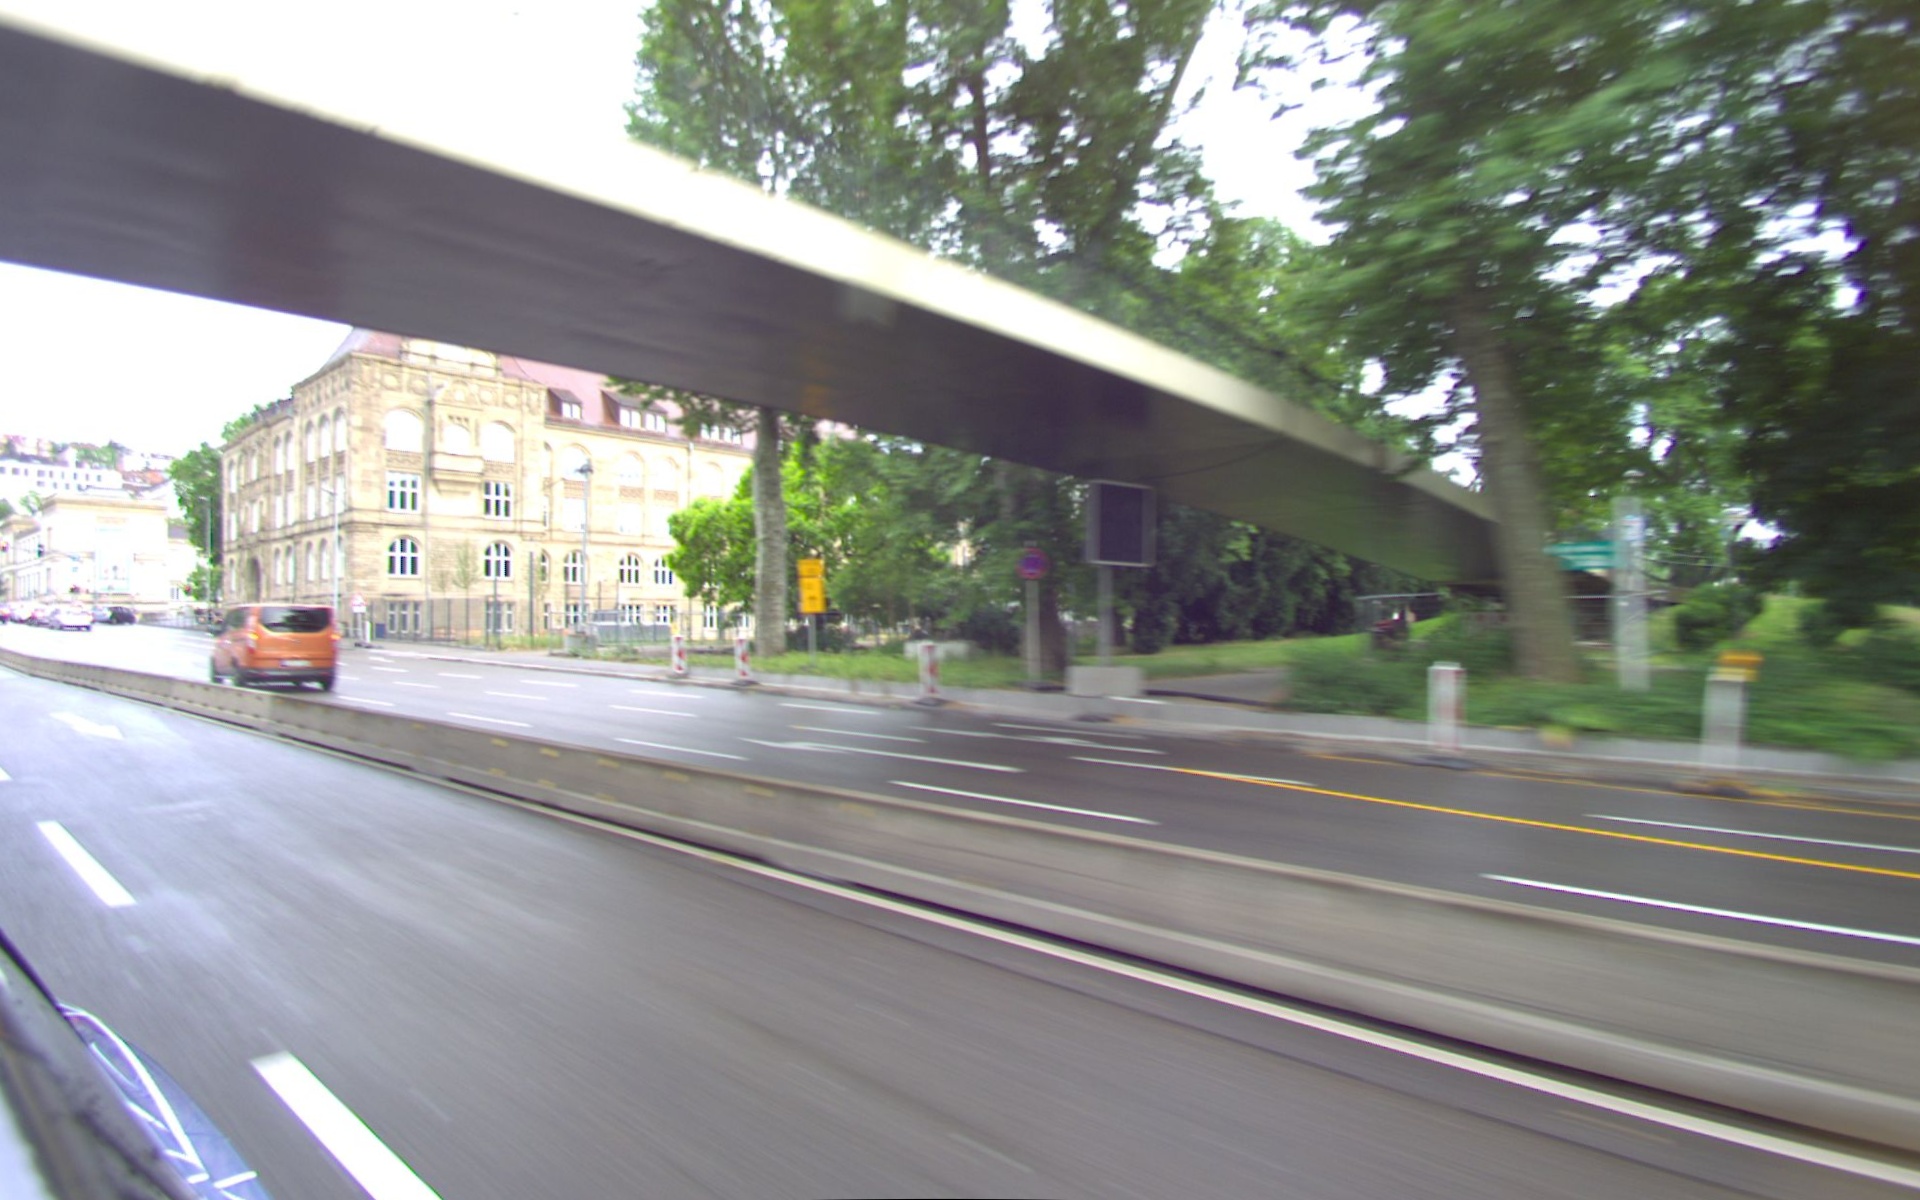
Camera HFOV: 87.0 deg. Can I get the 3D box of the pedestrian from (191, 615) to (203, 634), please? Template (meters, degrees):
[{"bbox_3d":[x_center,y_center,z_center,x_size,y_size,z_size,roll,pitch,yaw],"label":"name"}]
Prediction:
[{"bbox_3d":[-65.024,2.067,86.292,0.734,1.596,0.610,0,-3,41],"label":"pedestrian"}]

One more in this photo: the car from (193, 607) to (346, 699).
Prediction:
[{"bbox_3d":[-16.730,1.202,24.407,5.045,1.951,2.008,0,-3,44],"label":"car"}]

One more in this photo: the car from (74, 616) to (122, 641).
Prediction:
[{"bbox_3d":[-73.894,2.457,86.706,3.988,2.029,1.978,1,-2,33],"label":"car"}]

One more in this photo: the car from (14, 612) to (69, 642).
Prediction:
[{"bbox_3d":[-67.616,1.960,74.487,3.988,2.029,1.978,1,-2,33],"label":"car"}]

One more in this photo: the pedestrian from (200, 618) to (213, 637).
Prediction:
[{"bbox_3d":[-64.489,2.342,86.637,0.733,1.596,0.611,1,-3,34],"label":"pedestrian"}]

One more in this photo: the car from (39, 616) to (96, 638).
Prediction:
[{"bbox_3d":[-61.370,1.857,69.553,4.203,1.393,1.976,1,-2,35],"label":"car"}]

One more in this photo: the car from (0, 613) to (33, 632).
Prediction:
[{"bbox_3d":[-73.027,1.710,77.704,4.204,1.393,1.975,1,-2,37],"label":"car"}]
